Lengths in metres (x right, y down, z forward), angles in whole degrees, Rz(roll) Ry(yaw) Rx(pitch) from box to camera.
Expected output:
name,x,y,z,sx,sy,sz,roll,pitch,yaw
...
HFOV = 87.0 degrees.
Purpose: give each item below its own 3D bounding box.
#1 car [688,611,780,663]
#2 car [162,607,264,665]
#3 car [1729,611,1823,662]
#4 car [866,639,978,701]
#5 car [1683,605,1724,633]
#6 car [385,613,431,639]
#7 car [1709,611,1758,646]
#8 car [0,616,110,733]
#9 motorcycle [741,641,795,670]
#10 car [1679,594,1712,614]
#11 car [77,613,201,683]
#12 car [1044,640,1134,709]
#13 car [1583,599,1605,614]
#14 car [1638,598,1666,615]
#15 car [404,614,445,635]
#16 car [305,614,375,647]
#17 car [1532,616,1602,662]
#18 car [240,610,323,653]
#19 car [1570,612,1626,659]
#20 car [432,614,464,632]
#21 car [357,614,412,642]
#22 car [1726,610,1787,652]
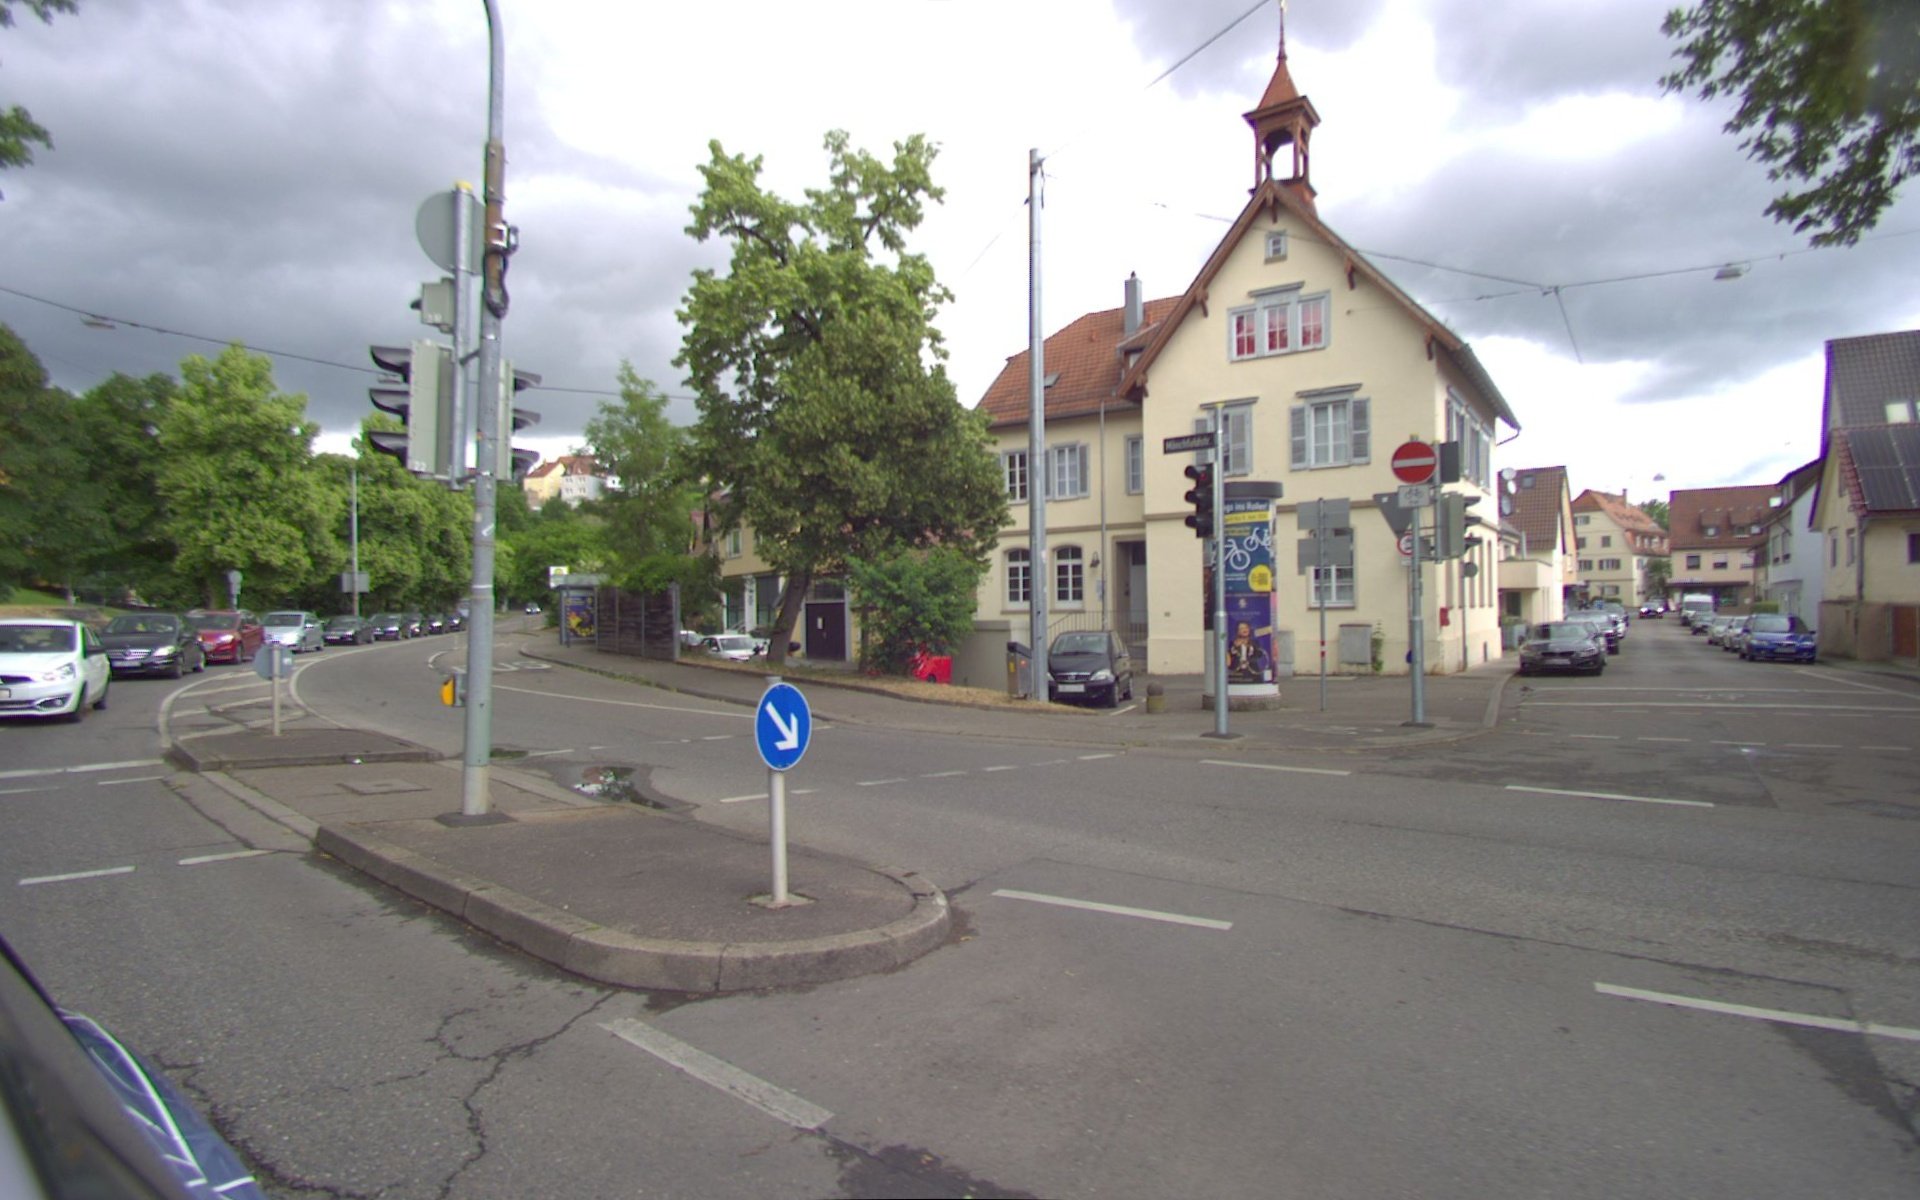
name,x,y,z,sx,sy,sz,roll,pitch,yaw
car,-7.739,1.189,34.365,1.869,1.640,4.012,0,0,-31
car,-22.649,1.041,30.819,1.647,1.654,4.114,0,-1,-24
car,26.183,1.130,32.596,1.821,1.526,3.630,-1,0,31
car,-0.904,1.742,26.117,1.589,1.363,3.603,0,-1,22
car,48.444,1.211,66.001,1.995,1.763,3.953,-1,-1,35
car,-32.912,1.543,60.426,1.679,1.457,3.879,0,-1,-17
car,37.345,1.340,48.929,1.763,1.565,3.668,-1,0,36
car,-13.901,1.022,15.022,1.602,1.519,4.010,0,-1,-35
motorcycle,-5.885,1.684,31.035,1.557,0.830,0.420,0,-1,-29
car,58.811,0.318,80.971,1.821,1.589,3.630,0,-1,31
car,-19.799,1.094,24.577,1.702,1.532,4.012,0,-1,-30
car,2.797,1.514,21.481,1.470,1.320,3.383,-1,-2,15
car,65.134,0.673,104.006,1.821,1.526,3.630,0,-1,31
car,63.505,0.603,92.877,1.821,1.526,3.630,0,-1,31
car,-34.637,1.561,65.530,1.617,1.278,3.636,0,-1,-17
car,-28.995,1.403,47.453,1.824,1.468,4.012,0,-1,-17
car,18.932,1.167,31.488,1.707,1.325,3.820,0,-1,34
car,-25.893,1.158,38.728,1.753,1.580,4.013,0,-1,-21
car,24.967,1.349,39.593,1.741,1.696,3.800,-1,-1,33
car,-36.419,1.633,72.038,1.396,1.259,3.305,0,-1,-17
car,-30.722,1.482,54.131,1.669,1.422,3.994,0,-1,-17
car,31.956,1.215,40.691,1.763,1.565,3.668,-1,0,36
